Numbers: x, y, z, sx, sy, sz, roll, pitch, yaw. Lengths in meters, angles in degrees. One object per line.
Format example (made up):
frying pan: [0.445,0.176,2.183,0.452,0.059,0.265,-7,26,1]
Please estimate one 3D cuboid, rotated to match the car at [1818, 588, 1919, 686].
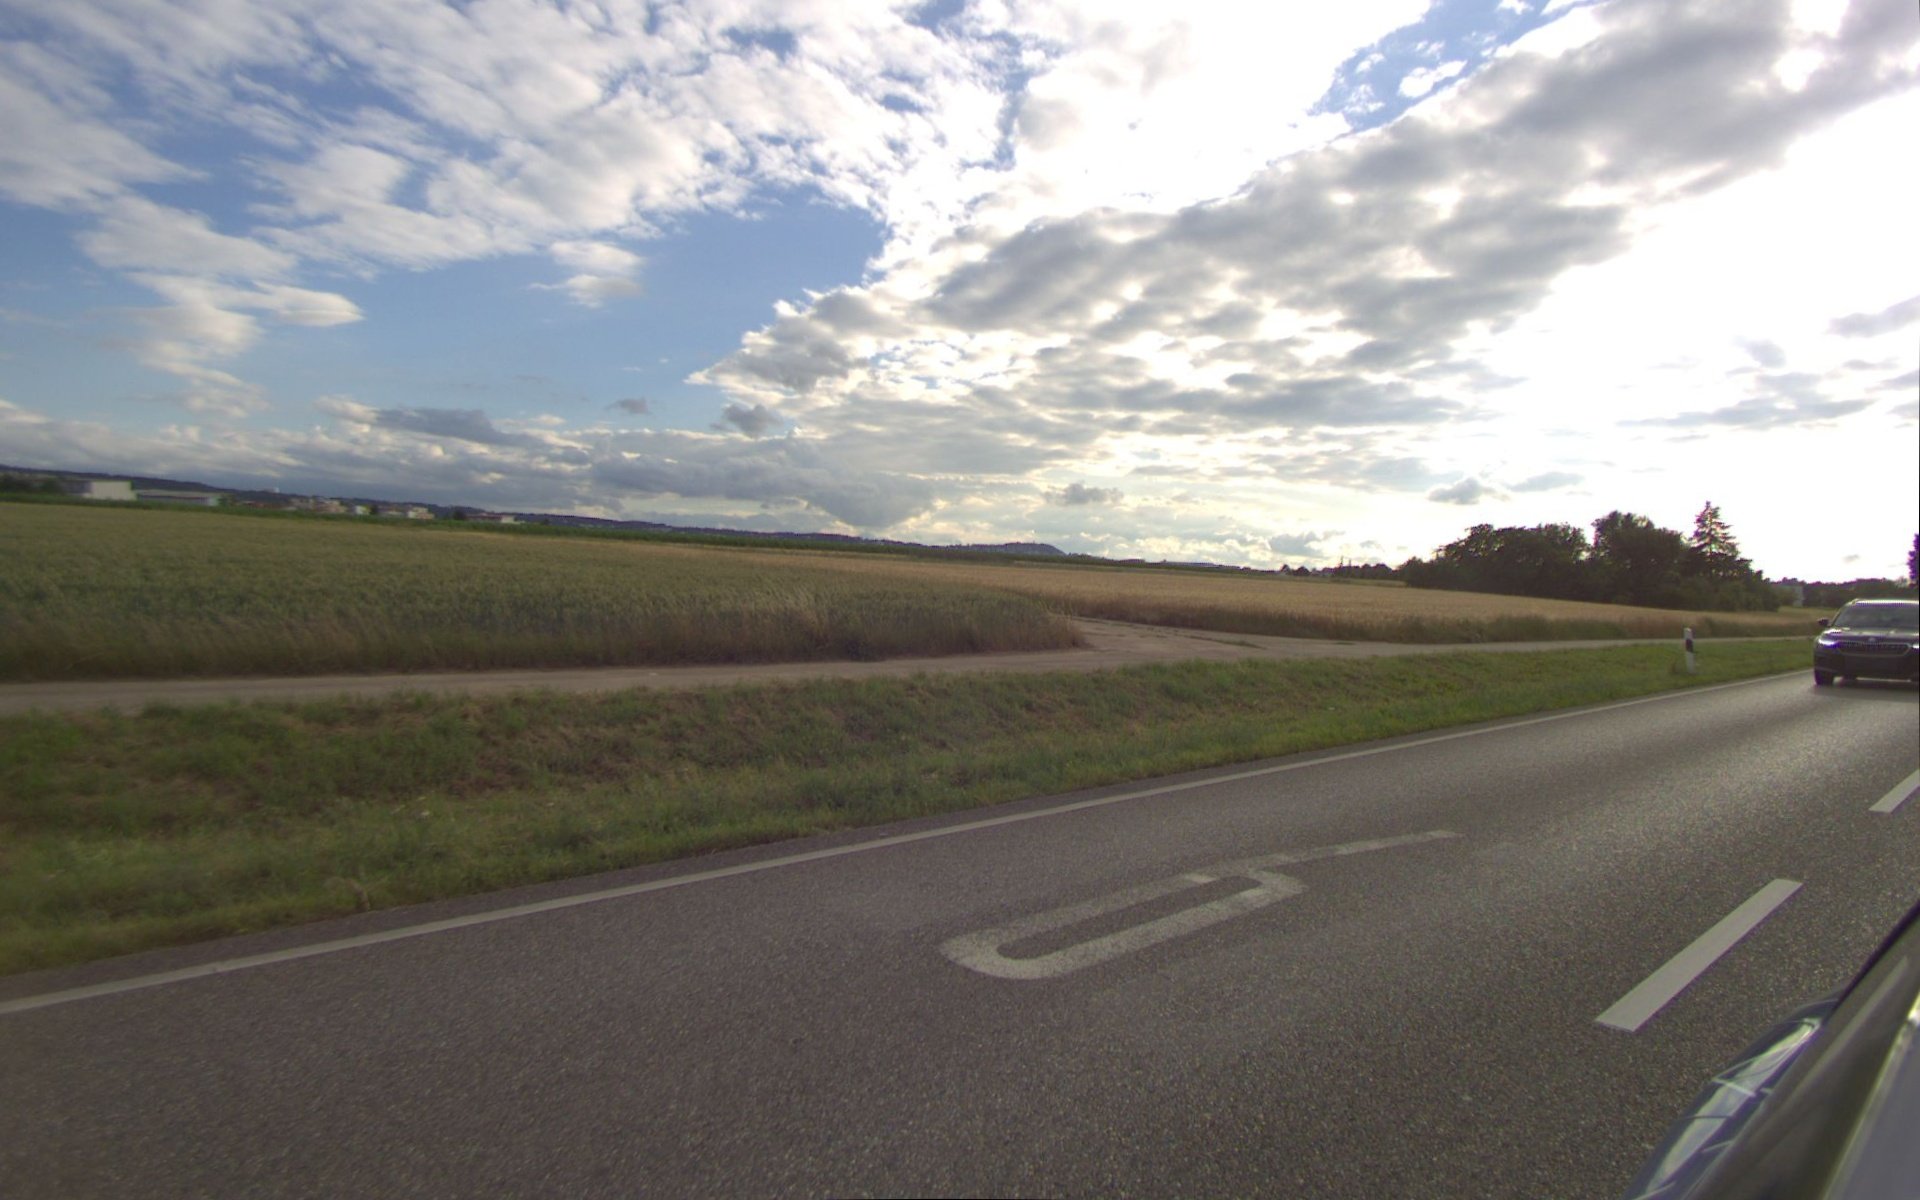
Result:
car: [18.416,0.634,19.777,4.477,1.730,1.840,-1,0,-41]
